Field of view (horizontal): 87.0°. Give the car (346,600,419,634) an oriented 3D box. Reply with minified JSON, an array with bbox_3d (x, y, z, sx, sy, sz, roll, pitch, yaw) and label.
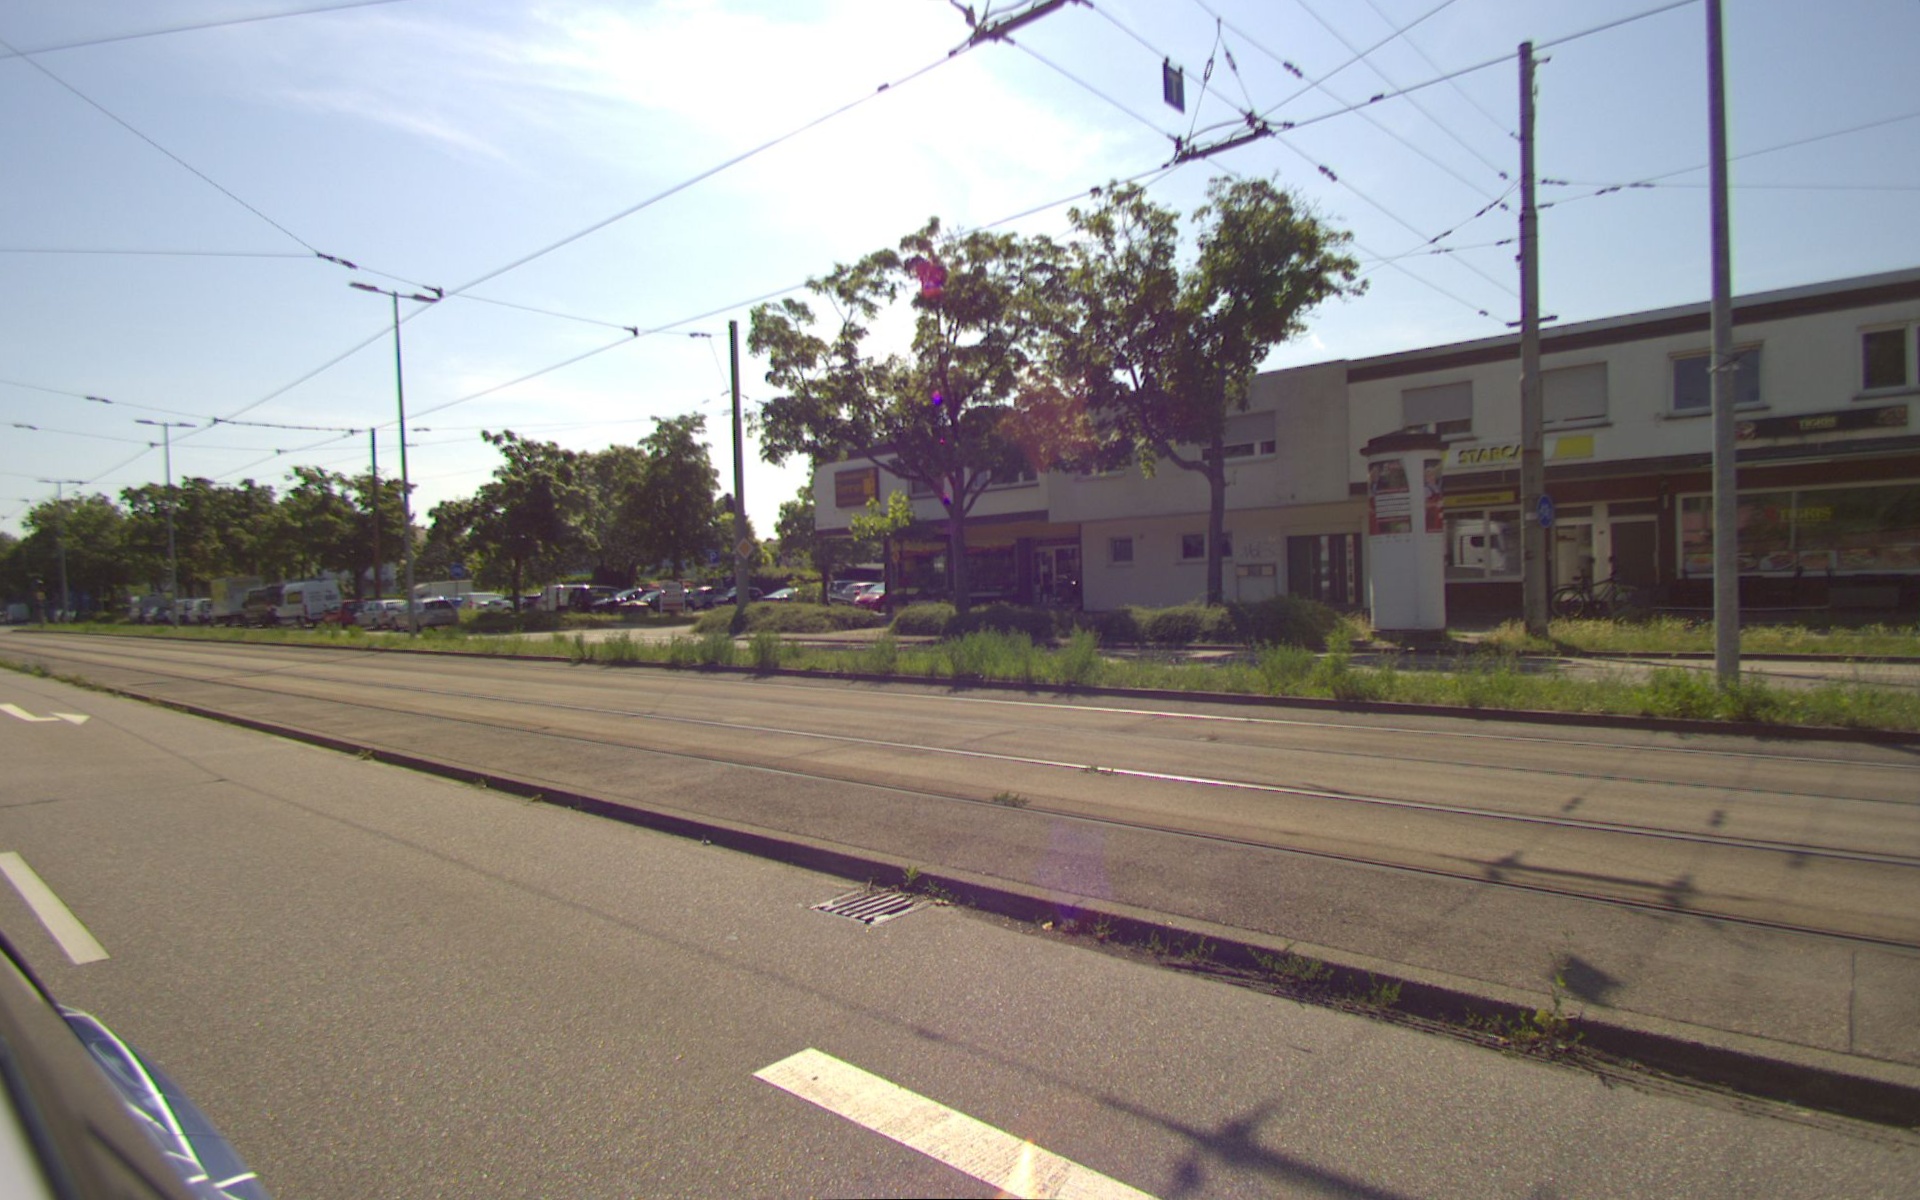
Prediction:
[{"bbox_3d":[-29.139,0.855,51.012,4.282,1.572,1.869,-1,1,41],"label":"car"}]

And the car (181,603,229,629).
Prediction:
[{"bbox_3d":[-54.654,1.178,73.222,4.229,1.747,1.869,-1,1,41],"label":"car"}]

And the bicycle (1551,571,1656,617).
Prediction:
[{"bbox_3d":[14.642,-0.136,23.049,1.910,0.990,0.750,-1,1,41],"label":"bicycle"}]

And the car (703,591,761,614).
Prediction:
[{"bbox_3d":[-15.637,0.161,69.391,1.710,1.372,3.580,-1,1,39],"label":"car"}]

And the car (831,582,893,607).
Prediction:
[{"bbox_3d":[-5.887,-0.362,61.370,1.710,1.372,3.580,-1,1,39],"label":"car"}]

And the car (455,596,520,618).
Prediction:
[{"bbox_3d":[-31.555,0.456,67.626,1.710,1.291,3.580,-1,1,39],"label":"car"}]

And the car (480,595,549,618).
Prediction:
[{"bbox_3d":[-28.042,0.411,63.764,1.811,1.291,3.580,-1,1,39],"label":"car"}]

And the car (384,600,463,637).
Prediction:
[{"bbox_3d":[-25.168,0.840,47.390,4.285,1.506,1.868,-1,4,43],"label":"car"}]

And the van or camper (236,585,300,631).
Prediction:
[{"bbox_3d":[-42.494,0.493,62.079,4.836,2.652,2.014,-1,1,41],"label":"van or camper"}]

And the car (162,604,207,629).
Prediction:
[{"bbox_3d":[-59.742,1.272,77.942,4.229,1.781,1.869,-1,1,41],"label":"car"}]

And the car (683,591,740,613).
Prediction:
[{"bbox_3d":[-17.476,0.141,71.229,1.710,1.372,3.580,-1,1,39],"label":"car"}]

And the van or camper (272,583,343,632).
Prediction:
[{"bbox_3d":[-37.108,0.423,57.527,4.836,2.652,2.014,-1,1,41],"label":"van or camper"}]

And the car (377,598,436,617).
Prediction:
[{"bbox_3d":[-42.144,0.591,77.121,1.710,1.291,3.580,-1,1,39],"label":"car"}]

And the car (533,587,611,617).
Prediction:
[{"bbox_3d":[-22.209,0.117,58.000,1.949,1.581,3.703,-1,1,39],"label":"car"}]

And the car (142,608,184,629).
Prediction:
[{"bbox_3d":[-64.363,1.512,81.715,4.229,1.572,1.869,-1,1,41],"label":"car"}]

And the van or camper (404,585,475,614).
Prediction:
[{"bbox_3d":[-53.074,-0.096,103.268,2.299,2.751,6.002,-1,1,43],"label":"van or camper"}]

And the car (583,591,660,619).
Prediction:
[{"bbox_3d":[-18.227,0.248,54.637,1.710,1.372,3.580,-1,1,39],"label":"car"}]

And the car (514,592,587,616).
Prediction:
[{"bbox_3d":[-24.020,0.225,59.455,1.710,1.294,3.580,-1,1,39],"label":"car"}]

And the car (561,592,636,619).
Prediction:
[{"bbox_3d":[-20.178,0.272,56.577,1.710,1.372,3.580,-1,1,39],"label":"car"}]

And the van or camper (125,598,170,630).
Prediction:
[{"bbox_3d":[-69.462,1.160,86.453,5.450,2.639,2.087,-1,0,41],"label":"van or camper"}]

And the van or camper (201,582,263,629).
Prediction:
[{"bbox_3d":[-48.433,0.392,67.278,5.278,3.007,2.101,-1,1,41],"label":"van or camper"}]

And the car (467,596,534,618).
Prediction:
[{"bbox_3d":[-29.921,0.436,65.932,1.710,1.291,3.580,-1,1,39],"label":"car"}]

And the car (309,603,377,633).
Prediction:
[{"bbox_3d":[-33.224,0.977,54.463,4.229,1.506,1.869,-1,1,41],"label":"car"}]

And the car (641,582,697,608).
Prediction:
[{"bbox_3d":[-21.376,-0.371,74.436,1.710,1.791,3.580,-1,1,39],"label":"car"}]
